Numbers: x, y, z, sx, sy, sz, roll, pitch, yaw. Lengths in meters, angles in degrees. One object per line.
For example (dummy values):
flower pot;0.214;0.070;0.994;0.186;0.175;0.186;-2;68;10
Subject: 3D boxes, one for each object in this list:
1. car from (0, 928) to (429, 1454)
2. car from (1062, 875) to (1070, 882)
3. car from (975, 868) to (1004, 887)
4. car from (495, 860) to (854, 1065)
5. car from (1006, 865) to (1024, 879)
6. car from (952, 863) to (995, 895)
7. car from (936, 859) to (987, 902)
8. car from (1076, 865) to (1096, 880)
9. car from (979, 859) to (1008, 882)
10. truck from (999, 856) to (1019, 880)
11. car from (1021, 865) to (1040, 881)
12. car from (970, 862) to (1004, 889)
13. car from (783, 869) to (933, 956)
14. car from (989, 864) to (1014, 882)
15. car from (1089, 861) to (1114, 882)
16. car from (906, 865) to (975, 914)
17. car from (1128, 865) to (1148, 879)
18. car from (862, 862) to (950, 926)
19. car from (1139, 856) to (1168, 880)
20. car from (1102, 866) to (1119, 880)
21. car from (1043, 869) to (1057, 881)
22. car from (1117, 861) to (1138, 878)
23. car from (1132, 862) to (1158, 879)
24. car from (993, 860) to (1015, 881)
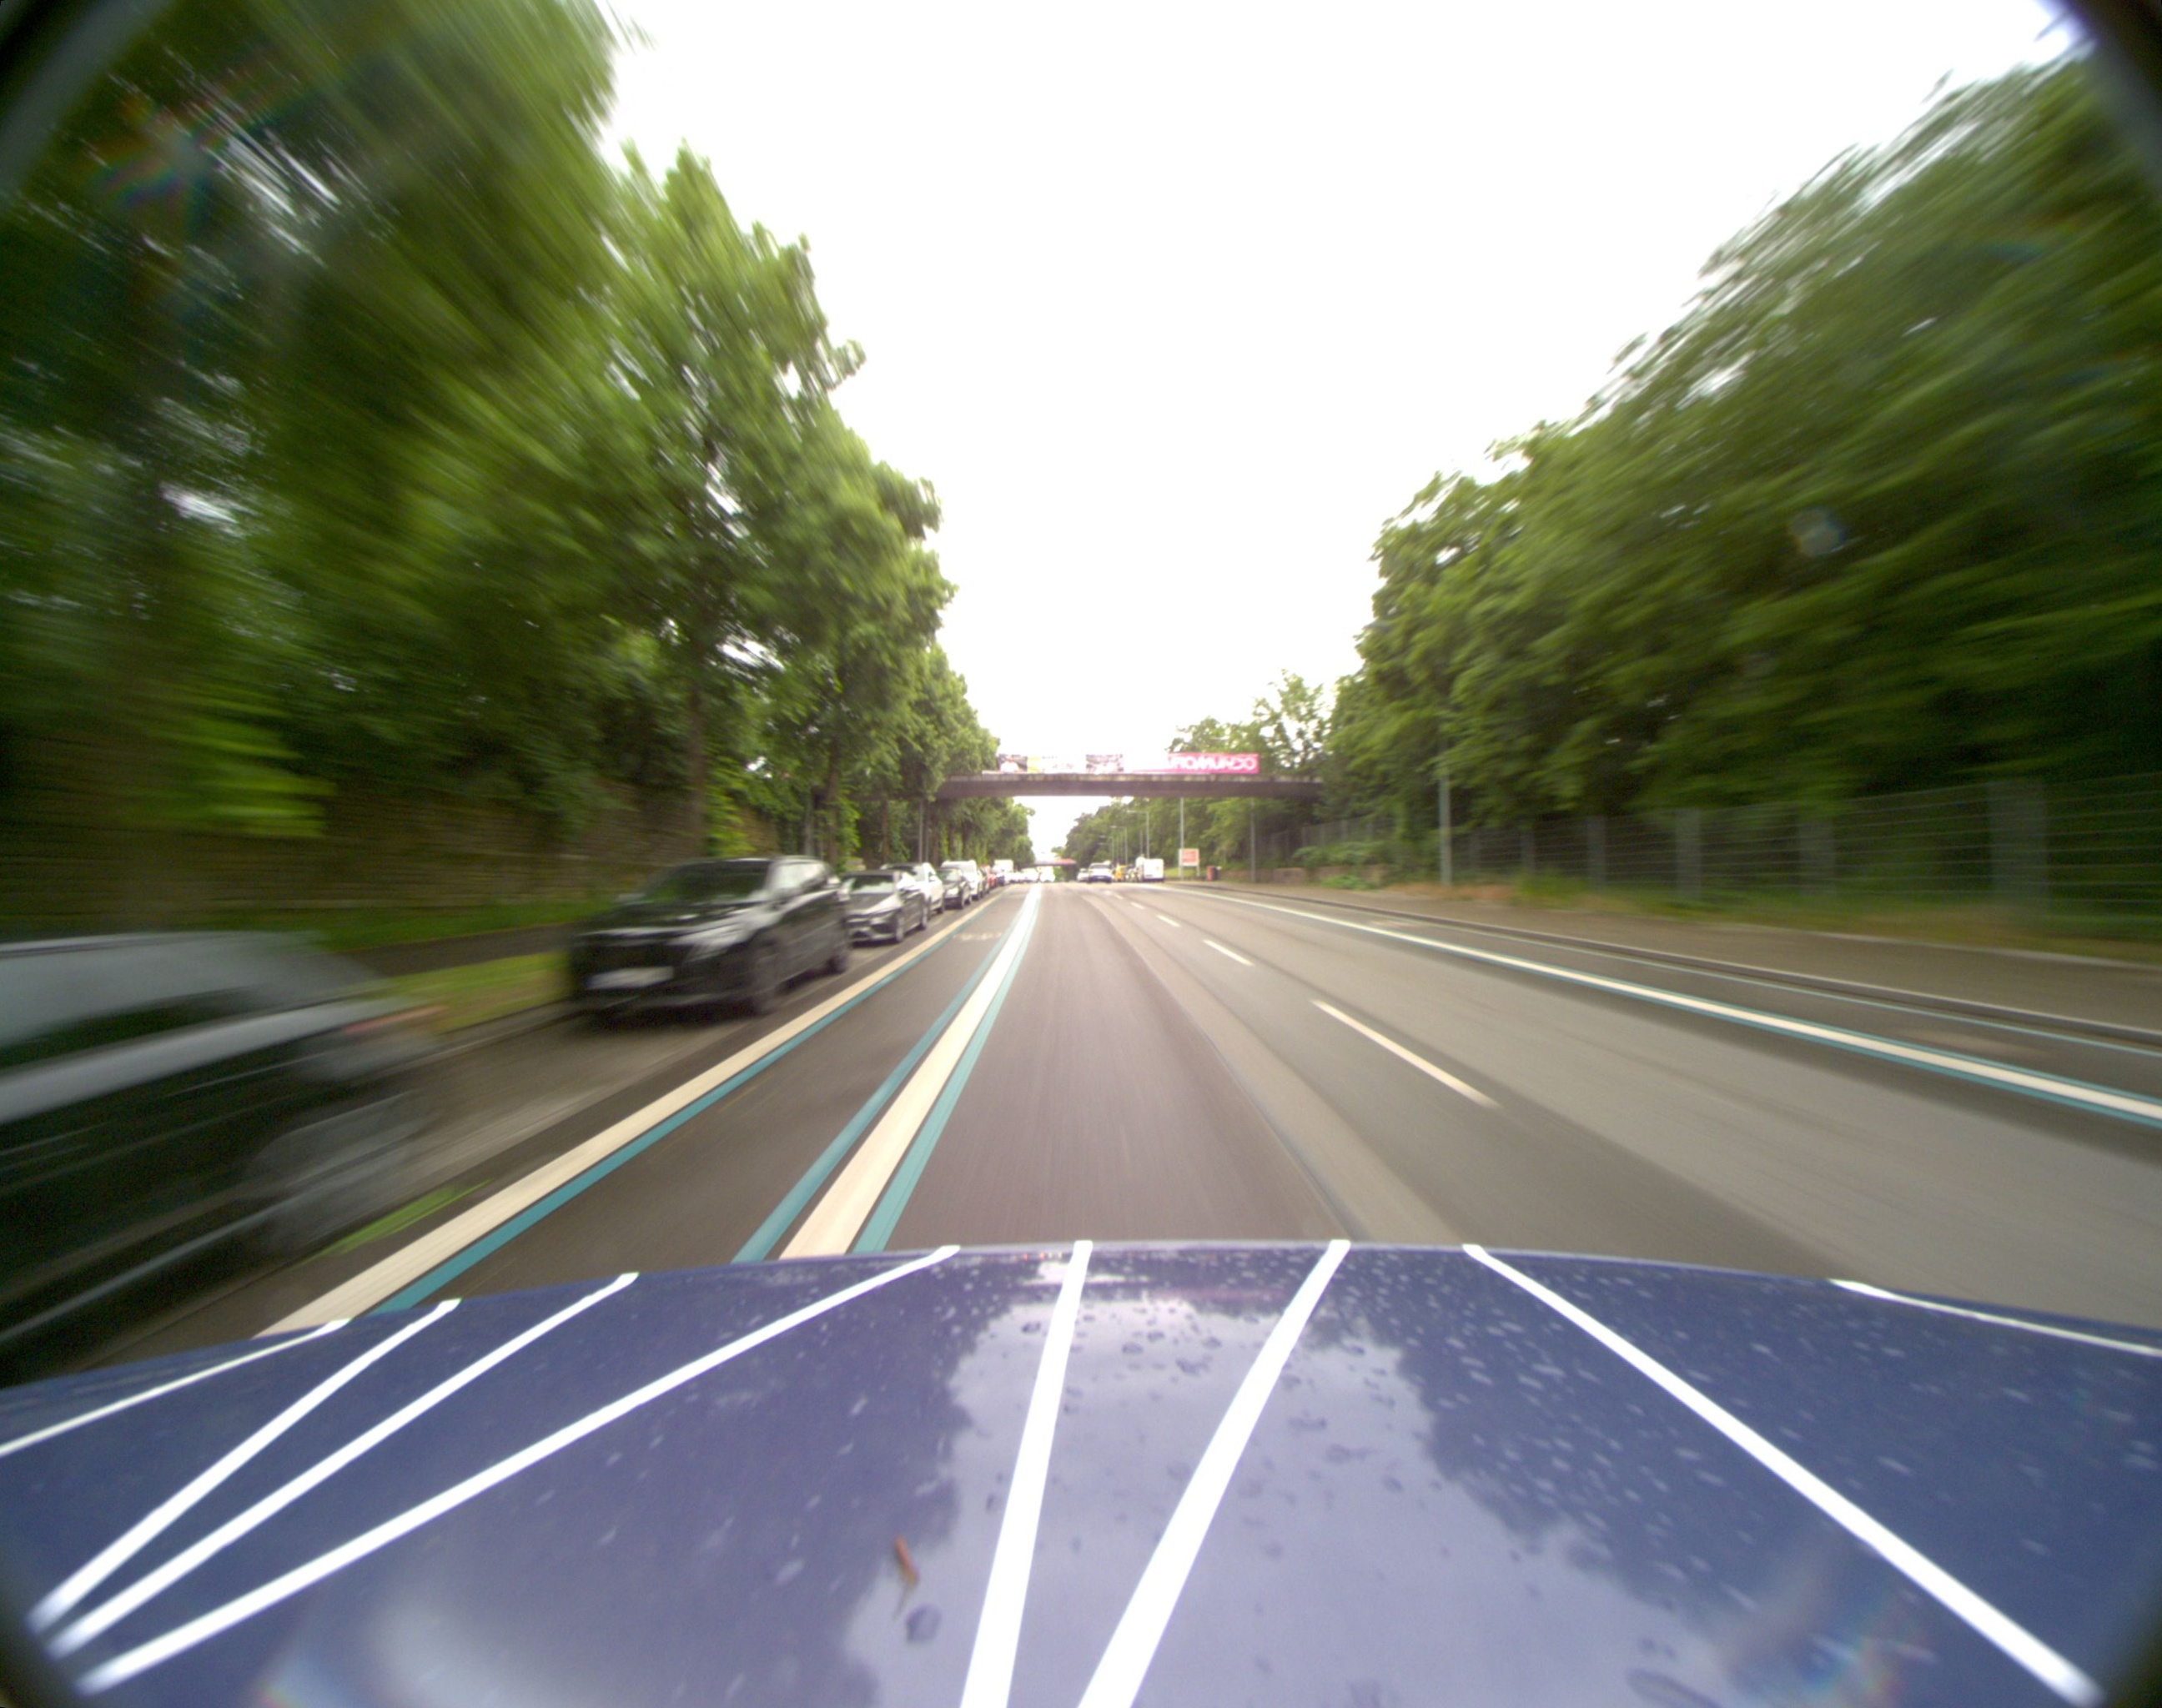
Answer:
car;-3.995;1.095;1.701;1.683;1.368;3.998;-1;1;-2
car;-3.385;5.631;173.391;1.715;1.608;4.150;1;-2;-3
car;-6.070;1.594;50.677;1.630;1.182;4.183;-1;-2;-4
car;-4.219;0.968;8.882;1.999;1.636;4.346;-2;1;-3
car;-7.507;2.083;86.348;1.761;1.575;4.412;-1;-2;-9
car;-5.238;1.198;37.485;1.677;1.385;4.448;-1;1;-3
car;-4.917;1.041;31.777;1.718;1.609;4.259;-1;0;-4
car;0.501;2.034;83.626;1.977;1.542;3.869;-1;-1;-3
car;-6.416;1.243;55.878;1.999;1.550;4.641;-1;-2;-6
truck;-7.013;1.384;74.199;1.723;2.319;4.000;-1;-2;-3
car;-4.845;1.841;72.803;1.726;1.389;4.591;-1;-2;-3
car;-5.567;1.300;44.678;1.564;1.457;3.623;-2;-2;-13
car;-4.352;1.077;15.592;1.779;1.340;4.465;-2;1;-1
car;-6.402;1.544;61.582;1.664;1.417;4.618;-1;-2;-2
car;1.649;1.380;61.620;1.801;1.567;4.101;-1;0;-2
car;-4.712;1.147;26.107;1.723;1.368;4.556;-1;1;-3
car;5.868;1.861;78.722;1.612;1.437;4.038;0;-2;-3
car;-4.763;1.024;21.135;1.666;1.526;3.740;-2;0;-2
car;6.151;1.229;64.905;1.984;1.902;5.228;-1;-2;0
car;4.314;2.755;111.375;1.877;1.965;4.735;0;-2;-4
car;-4.141;2.741;100.621;1.828;1.453;3.882;-2;-2;-3
car;5.408;1.810;89.165;1.999;1.901;4.845;0;-2;-3
car;6.083;1.611;72.403;1.829;1.606;4.663;0;-2;-3
car;-6.878;1.524;68.532;1.727;1.779;4.345;-1;-2;-3
